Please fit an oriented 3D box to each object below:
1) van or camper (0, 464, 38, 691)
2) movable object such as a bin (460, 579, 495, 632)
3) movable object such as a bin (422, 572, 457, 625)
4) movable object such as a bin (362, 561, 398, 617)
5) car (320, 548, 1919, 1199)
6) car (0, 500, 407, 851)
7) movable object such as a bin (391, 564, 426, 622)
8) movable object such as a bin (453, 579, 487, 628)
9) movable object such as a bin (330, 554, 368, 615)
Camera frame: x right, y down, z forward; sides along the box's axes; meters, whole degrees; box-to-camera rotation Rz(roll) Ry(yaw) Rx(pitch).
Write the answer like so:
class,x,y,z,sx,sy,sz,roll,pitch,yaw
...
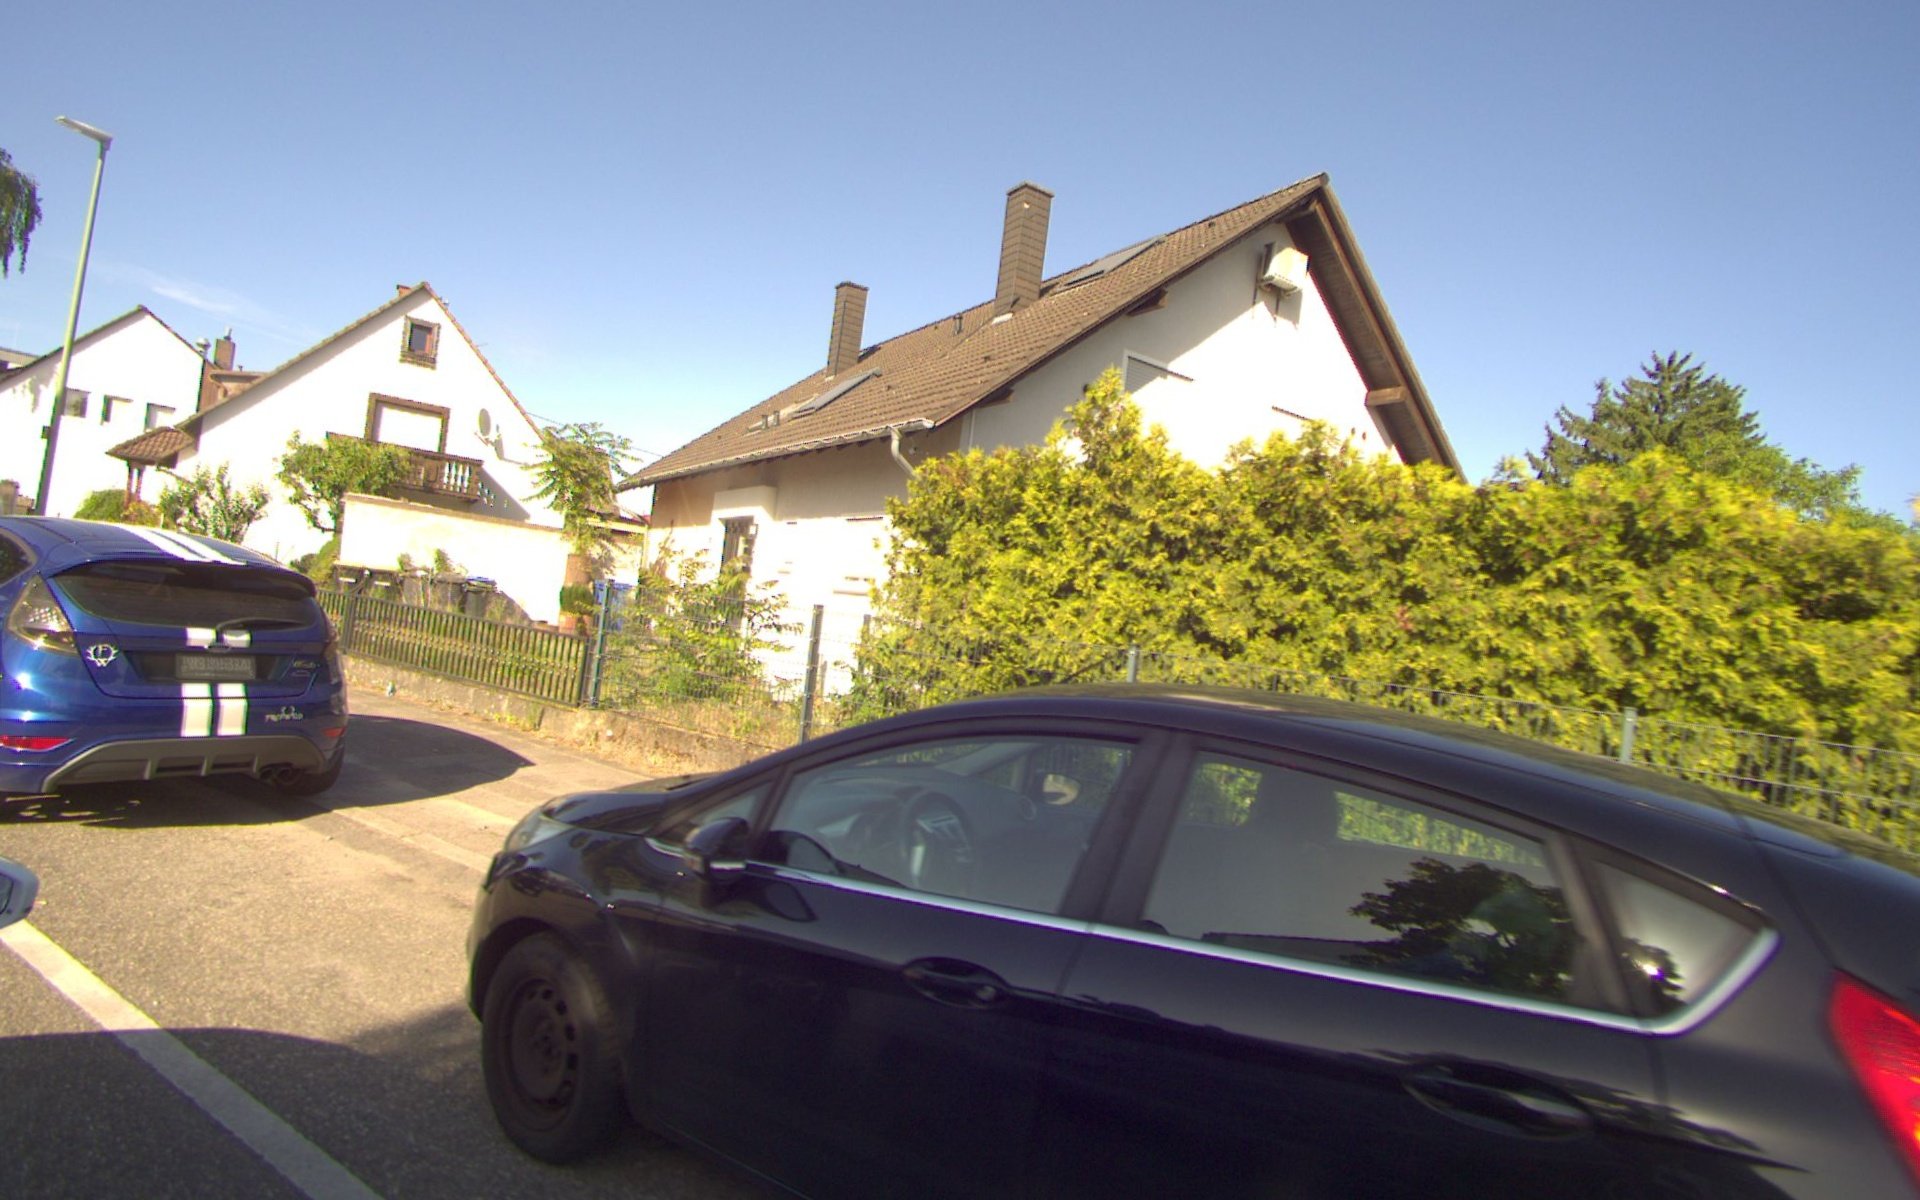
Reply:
class,x,y,z,sx,sy,sz,roll,pitch,yaw
van or camper,-10.230,-0.453,9.025,4.111,1.912,1.722,7,-2,32
movable object such as a bin,-9.717,0.110,20.250,0.499,0.976,0.454,8,-1,-31
movable object such as a bin,-10.597,-0.037,20.469,0.499,1.011,0.454,8,-1,-31
movable object such as a bin,-11.447,-0.217,19.860,0.499,1.038,0.454,8,-1,-31
car,0.193,0.869,2.848,3.841,1.522,1.722,7,-2,31
car,-5.185,0.253,5.984,3.505,1.522,1.722,7,-2,32
movable object such as a bin,-11.092,-0.139,20.229,0.499,1.091,0.454,8,-1,-31
movable object such as a bin,-10.107,0.068,20.760,0.499,0.923,0.454,8,-1,-31
movable object such as a bin,-11.887,-0.307,19.584,0.499,1.109,0.454,8,0,-31
